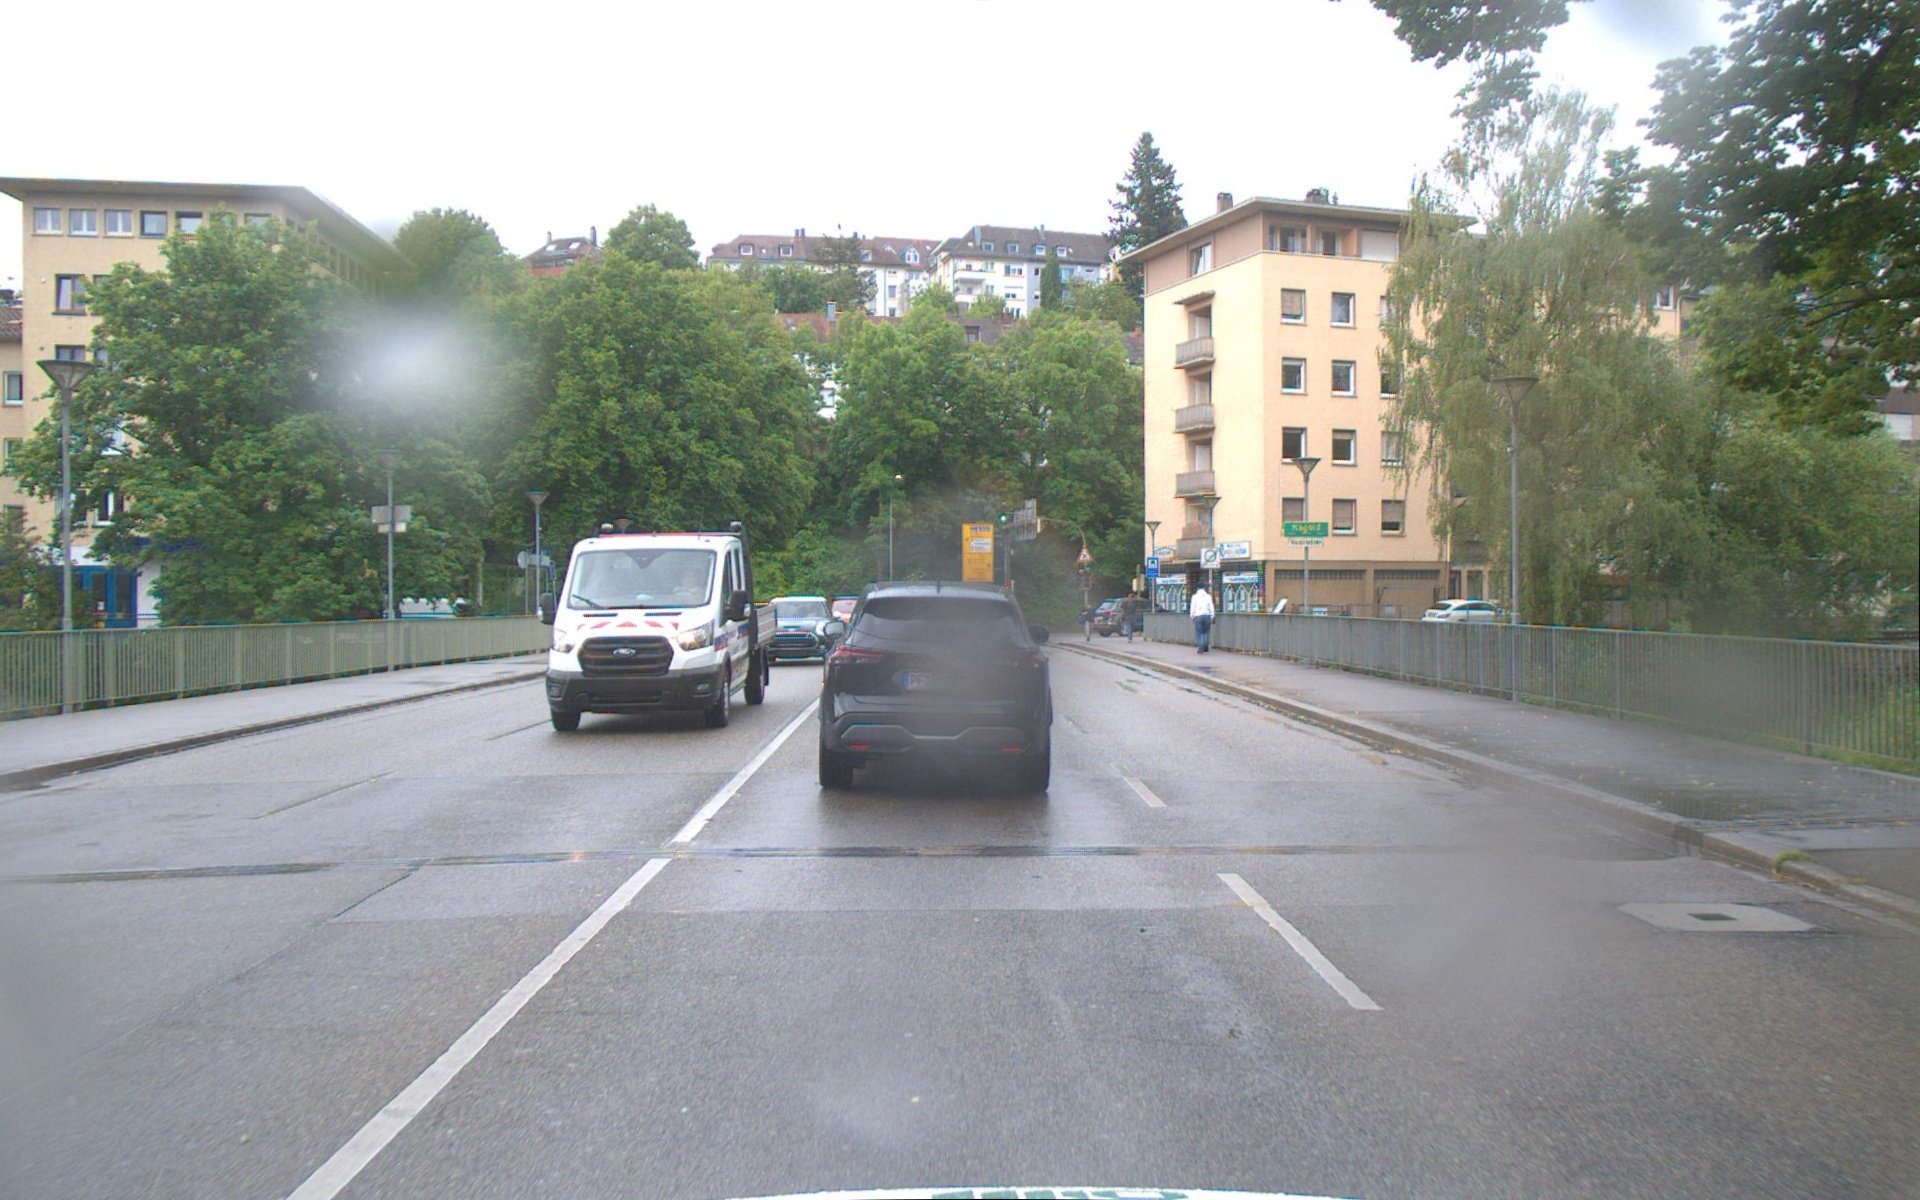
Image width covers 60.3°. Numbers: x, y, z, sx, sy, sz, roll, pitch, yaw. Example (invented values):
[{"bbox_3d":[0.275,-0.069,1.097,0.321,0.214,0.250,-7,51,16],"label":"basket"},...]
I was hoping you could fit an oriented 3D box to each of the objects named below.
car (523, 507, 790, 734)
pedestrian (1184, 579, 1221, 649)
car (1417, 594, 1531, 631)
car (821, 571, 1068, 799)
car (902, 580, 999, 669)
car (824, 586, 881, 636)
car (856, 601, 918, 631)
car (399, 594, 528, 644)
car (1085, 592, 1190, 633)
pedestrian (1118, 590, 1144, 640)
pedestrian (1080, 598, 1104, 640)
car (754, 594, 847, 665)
[{"bbox_3d":[-3.557,0.170,20.826,2.243,2.349,6.507,-2,1,-1],"label":"car"},{"bbox_3d":[6.253,0.361,42.770,0.764,1.783,1.060,0,-1,-1],"label":"pedestrian"},{"bbox_3d":[21.504,0.525,69.226,4.369,1.400,1.808,-1,2,-18],"label":"car"},{"bbox_3d":[-0.145,0.605,14.026,1.774,1.631,3.999,1,0,-1],"label":"car"},{"bbox_3d":[-0.215,0.443,32.747,1.774,1.631,3.999,1,0,-1],"label":"car"},{"bbox_3d":[-3.993,0.379,61.851,1.850,1.765,4.370,-1,0,-1],"label":"car"},{"bbox_3d":[-3.703,0.799,83.512,1.688,1.441,4.061,-2,0,-25],"label":"car"},{"bbox_3d":[-19.630,0.738,65.606,4.655,1.886,1.996,0,2,-10],"label":"car"},{"bbox_3d":[7.934,0.549,73.903,4.315,1.678,1.867,-1,0,-27],"label":"car"},{"bbox_3d":[5.985,0.524,57.810,0.745,1.706,0.781,-2,0,-1],"label":"pedestrian"},{"bbox_3d":[5.260,0.772,66.150,0.845,1.647,0.839,-1,-1,-1],"label":"pedestrian"},{"bbox_3d":[-3.530,0.624,37.174,1.710,1.464,3.999,-1,0,-1],"label":"car"}]
